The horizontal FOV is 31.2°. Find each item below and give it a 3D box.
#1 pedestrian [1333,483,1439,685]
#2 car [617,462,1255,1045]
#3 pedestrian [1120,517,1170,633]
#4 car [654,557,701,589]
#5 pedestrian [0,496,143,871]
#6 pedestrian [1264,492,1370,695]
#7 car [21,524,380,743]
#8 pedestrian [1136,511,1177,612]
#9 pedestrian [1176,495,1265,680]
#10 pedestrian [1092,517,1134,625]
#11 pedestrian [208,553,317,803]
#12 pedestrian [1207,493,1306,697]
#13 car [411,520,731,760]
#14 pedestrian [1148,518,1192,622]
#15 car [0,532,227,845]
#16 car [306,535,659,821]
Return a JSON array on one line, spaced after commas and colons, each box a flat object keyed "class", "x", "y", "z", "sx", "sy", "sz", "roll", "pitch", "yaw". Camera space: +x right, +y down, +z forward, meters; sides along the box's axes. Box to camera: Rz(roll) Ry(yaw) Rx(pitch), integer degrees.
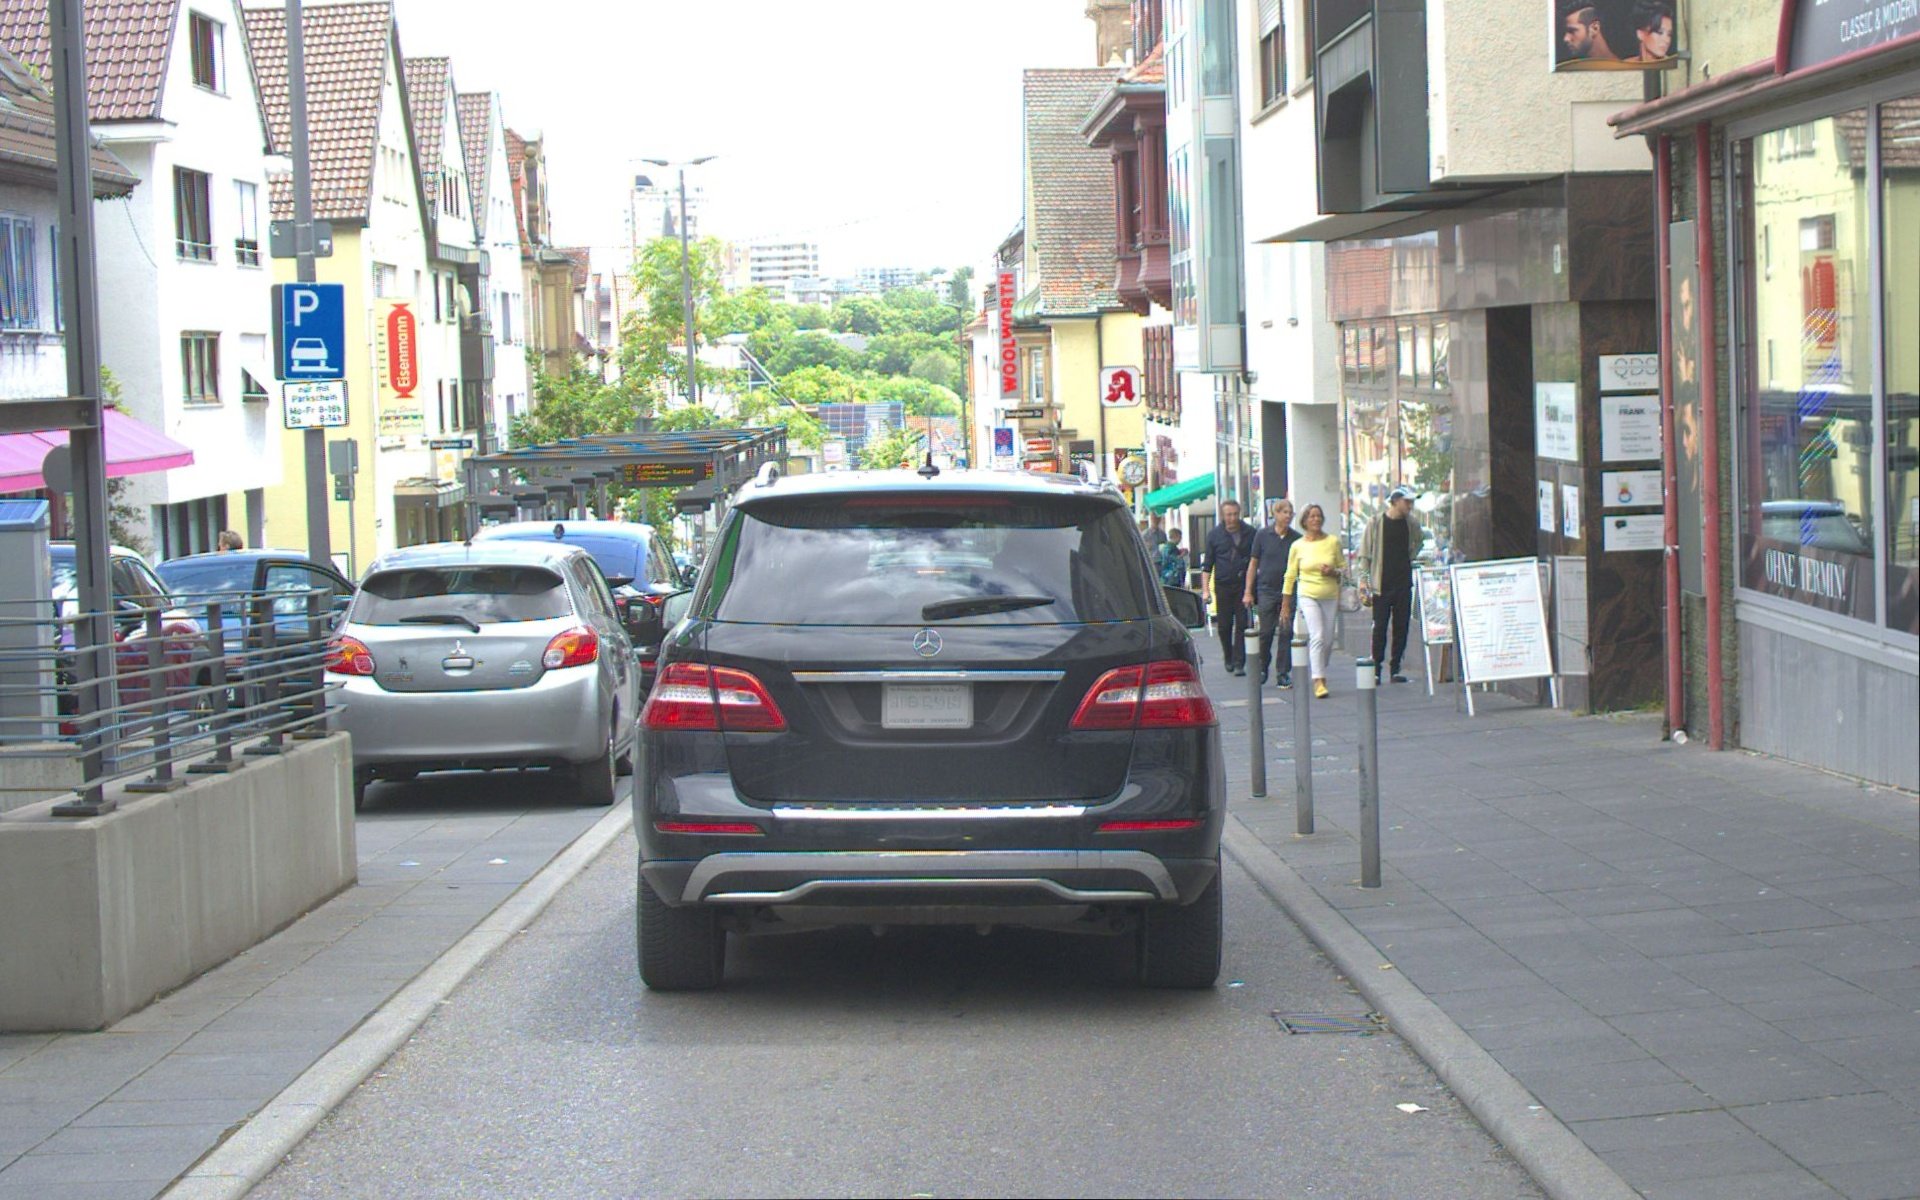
[{"class": "pedestrian", "x": 3.672, "y": -0.143, "z": 29.666, "sx": 0.662, "sy": 1.683, "sz": 0.543, "roll": -5, "pitch": 1, "yaw": -7}, {"class": "car", "x": -0.156, "y": 0.432, "z": 12.322, "sx": 1.900, "sy": 1.741, "sz": 4.001, "roll": 0, "pitch": 1, "yaw": -2}, {"class": "pedestrian", "x": 2.702, "y": -0.366, "z": 50.192, "sx": 0.621, "sy": 1.683, "sz": 0.566, "roll": 0, "pitch": 1, "yaw": -7}, {"class": "car", "x": -9.987, "y": -0.967, "z": 121.759, "sx": 1.388, "sy": 1.066, "sz": 3.113, "roll": -2, "pitch": 1, "yaw": 0}, {"class": "pedestrian", "x": -4.141, "y": 0.360, "z": 15.724, "sx": 0.533, "sy": 1.666, "sz": 0.901, "roll": -1, "pitch": 2, "yaw": 2}, {"class": "pedestrian", "x": 2.968, "y": -0.062, "z": 28.640, "sx": 0.711, "sy": 1.625, "sz": 0.835, "roll": -3, "pitch": 1, "yaw": -1}, {"class": "car", "x": -5.635, "y": 0.192, "z": 25.962, "sx": 1.739, "sy": 1.470, "sz": 3.884, "roll": 1, "pitch": 2, "yaw": 2}, {"class": "pedestrian", "x": 3.290, "y": -0.647, "z": 57.550, "sx": 0.573, "sy": 1.683, "sz": 0.566, "roll": 0, "pitch": 1, "yaw": -7}, {"class": "pedestrian", "x": 2.533, "y": -0.123, "z": 33.522, "sx": 0.711, "sy": 1.747, "sz": 0.787, "roll": -3, "pitch": 1, "yaw": -1}, {"class": "pedestrian", "x": 2.464, "y": -0.469, "z": 55.351, "sx": 0.542, "sy": 1.720, "sz": 0.528, "roll": -2, "pitch": 1, "yaw": -7}, {"class": "pedestrian", "x": -4.100, "y": 0.452, "z": 20.236, "sx": 0.466, "sy": 1.427, "sz": 0.492, "roll": -3, "pitch": 1, "yaw": -1}, {"class": "pedestrian", "x": 2.622, "y": -0.055, "z": 30.431, "sx": 0.711, "sy": 1.747, "sz": 0.785, "roll": -3, "pitch": 1, "yaw": -1}, {"class": "car", "x": -2.808, "y": 0.240, "z": 25.693, "sx": 1.956, "sy": 1.634, "sz": 4.315, "roll": 0, "pitch": 1, "yaw": -1}, {"class": "pedestrian", "x": 3.461, "y": -0.492, "z": 56.700, "sx": 0.573, "sy": 1.683, "sz": 0.566, "roll": -3, "pitch": 1, "yaw": -7}, {"class": "car", "x": -5.339, "y": 0.396, "z": 18.993, "sx": 1.739, "sy": 1.537, "sz": 4.193, "roll": 0, "pitch": 1, "yaw": -1}, {"class": "car", "x": -2.728, "y": 0.391, "z": 20.316, "sx": 1.620, "sy": 1.527, "sz": 3.670, "roll": 0, "pitch": 1, "yaw": -1}]
